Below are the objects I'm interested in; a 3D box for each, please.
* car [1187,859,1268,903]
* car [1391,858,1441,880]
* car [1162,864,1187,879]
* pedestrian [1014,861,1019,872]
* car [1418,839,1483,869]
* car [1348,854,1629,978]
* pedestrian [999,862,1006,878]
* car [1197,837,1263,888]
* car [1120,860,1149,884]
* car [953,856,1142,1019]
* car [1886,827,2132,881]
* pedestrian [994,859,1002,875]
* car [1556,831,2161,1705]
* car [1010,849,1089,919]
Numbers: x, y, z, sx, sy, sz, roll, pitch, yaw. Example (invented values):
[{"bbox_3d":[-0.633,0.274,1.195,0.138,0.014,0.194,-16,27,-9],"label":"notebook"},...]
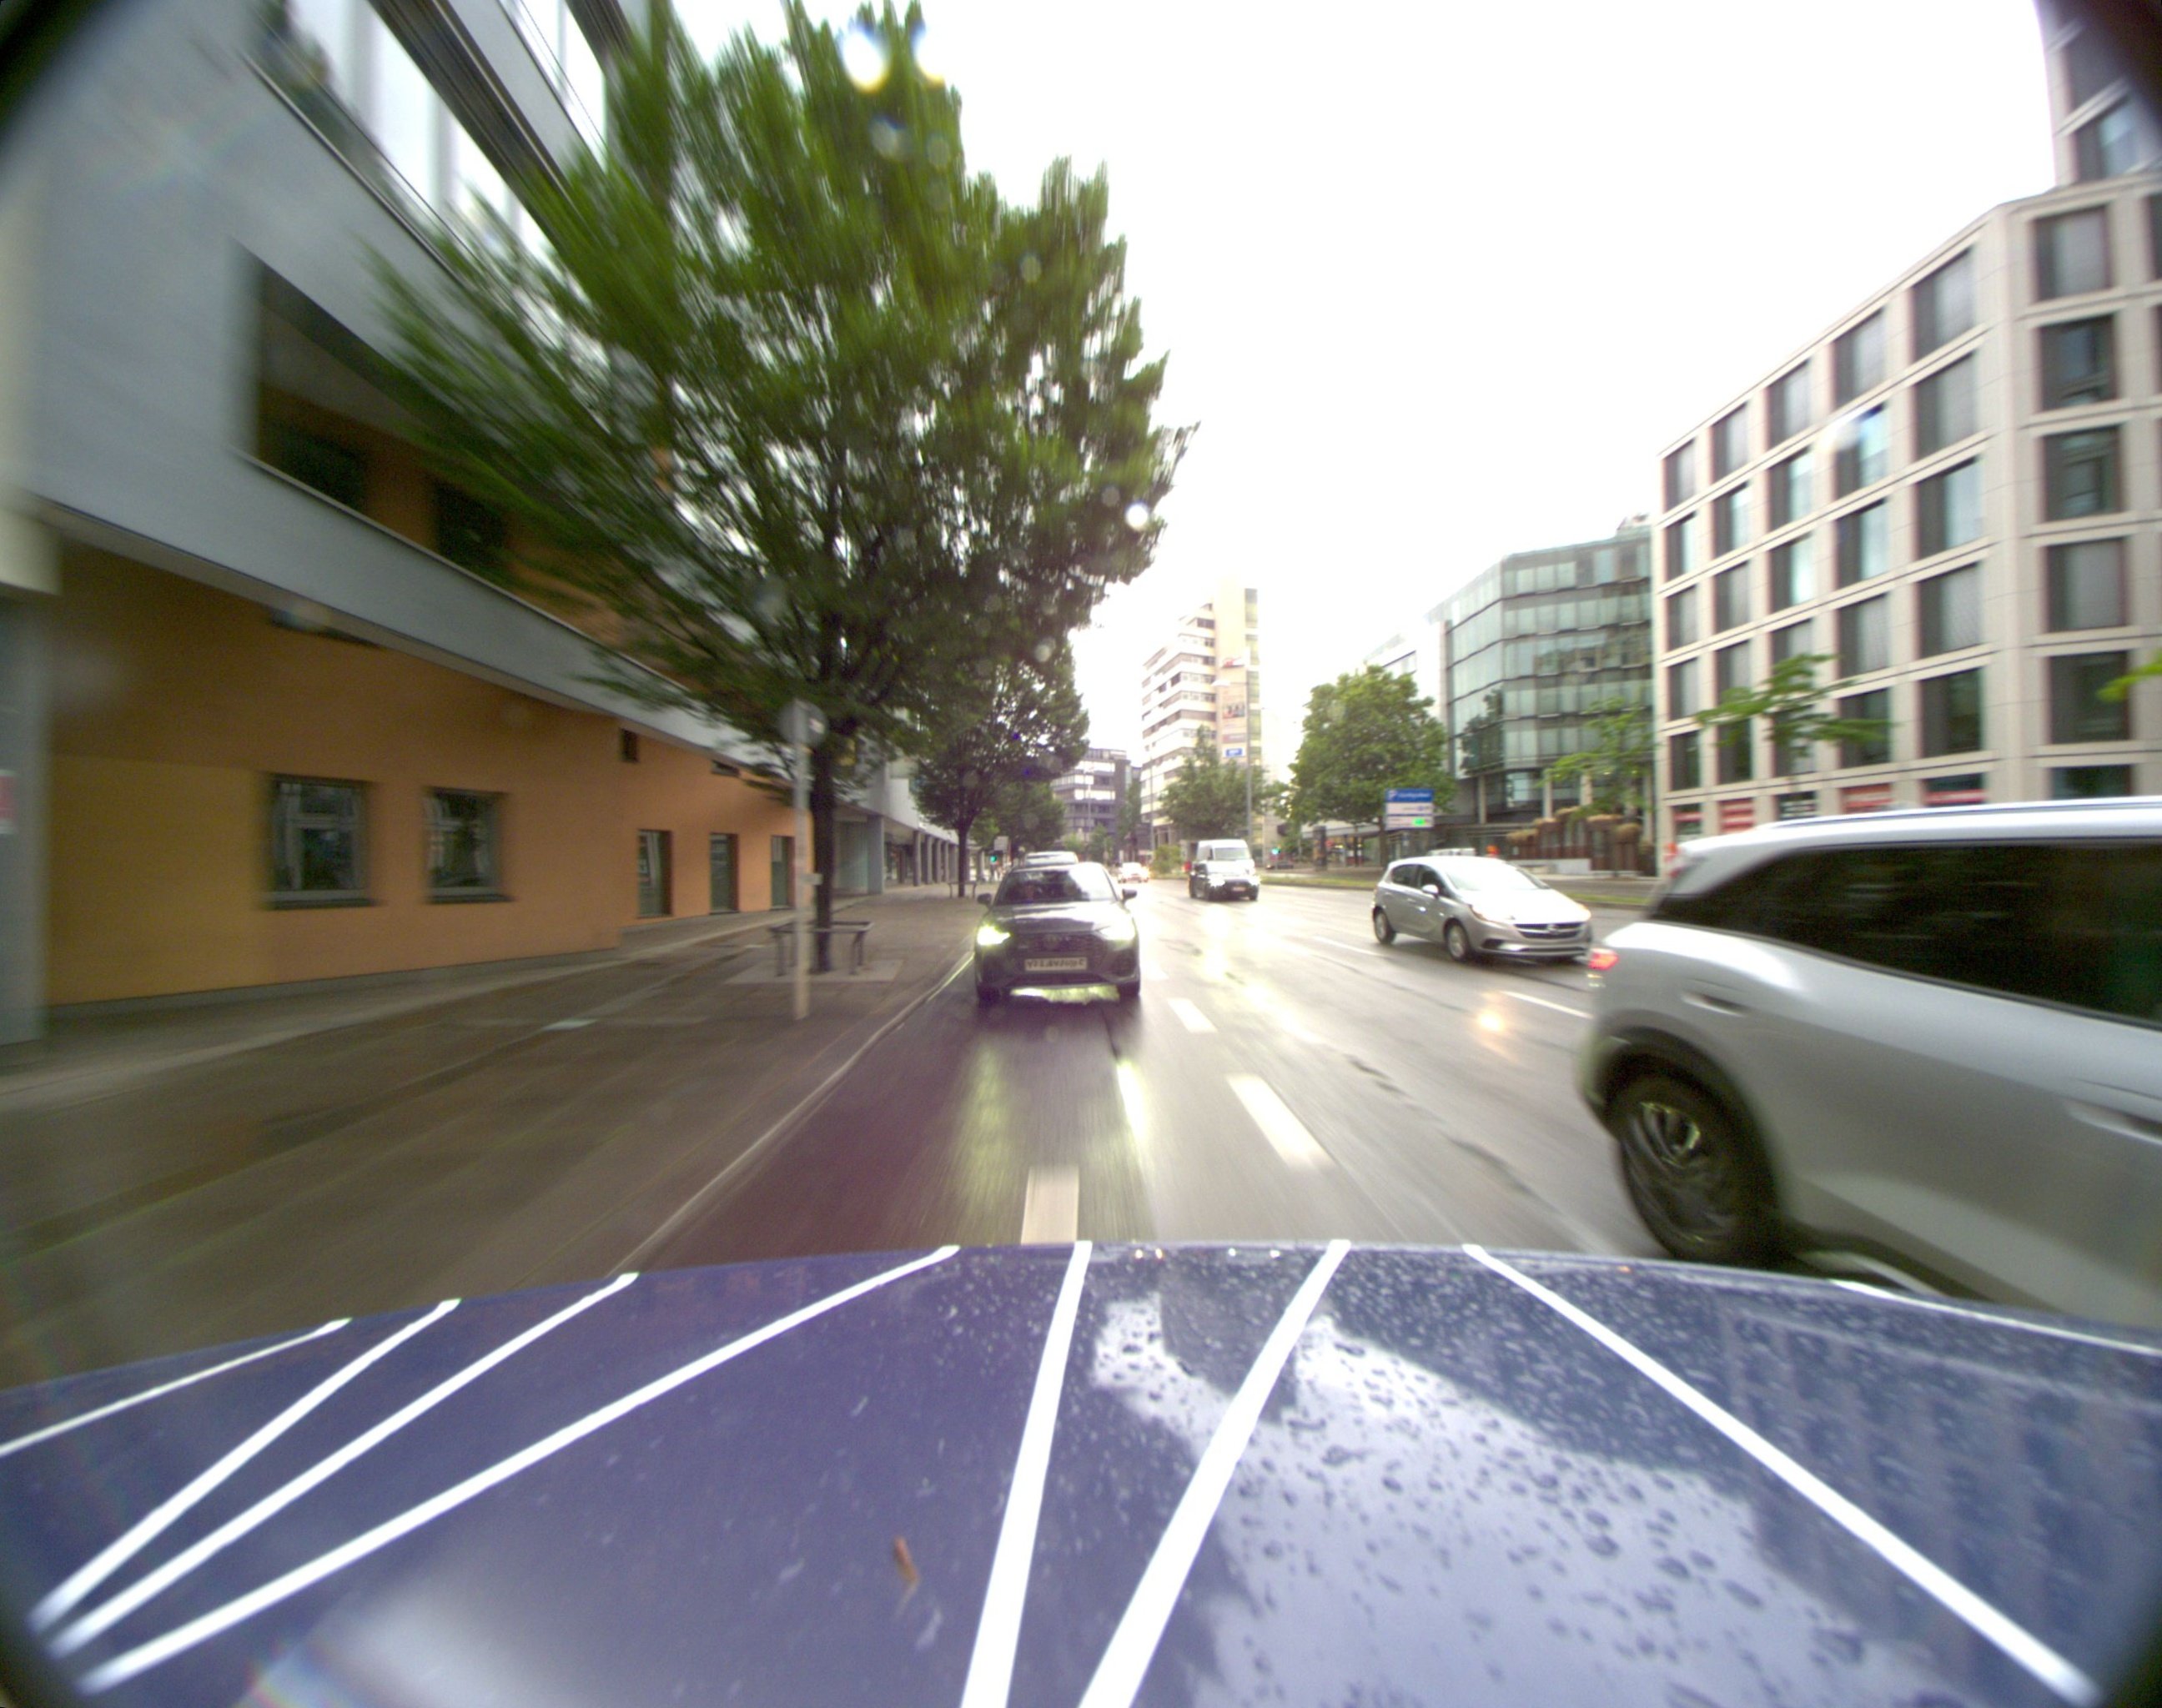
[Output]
[{"bbox_3d":[5.337,0.927,28.263,1.905,1.393,4.239,-2,1,-4],"label":"car"},{"bbox_3d":[25.904,1.099,58.927,1.802,1.520,4.285,-2,1,-3],"label":"car"},{"bbox_3d":[11.464,2.144,93.370,1.831,1.623,4.871,-2,1,-8],"label":"car"},{"bbox_3d":[-9.405,1.875,110.774,0.654,1.588,1.058,-2,1,-9],"label":"pedestrian"},{"bbox_3d":[26.038,-0.019,53.724,1.999,2.002,4.914,-2,1,-3],"label":"car"},{"bbox_3d":[5.920,0.780,11.695,1.775,1.470,4.125,-2,1,-6],"label":"car"},{"bbox_3d":[-9.048,1.880,87.666,0.641,1.771,0.880,-2,-1,-3],"label":"pedestrian"},{"bbox_3d":[7.663,0.391,39.705,2.259,2.371,5.718,-2,1,0],"label":"car"},{"bbox_3d":[3.776,1.250,54.441,1.784,1.499,3.999,-2,1,0],"label":"car"},{"bbox_3d":[-0.170,0.855,9.866,1.801,1.543,4.389,-2,1,6],"label":"car"},{"bbox_3d":[26.617,-0.001,22.087,1.702,1.415,4.372,0,0,-2],"label":"car"},{"bbox_3d":[-9.480,1.486,86.564,0.794,1.771,0.894,-2,-1,-6],"label":"pedestrian"},{"bbox_3d":[2.964,0.790,1.185,1.813,1.651,4.170,-2,1,0],"label":"car"},{"bbox_3d":[-0.856,0.816,23.604,2.059,1.881,5.049,-2,1,1],"label":"car"}]
